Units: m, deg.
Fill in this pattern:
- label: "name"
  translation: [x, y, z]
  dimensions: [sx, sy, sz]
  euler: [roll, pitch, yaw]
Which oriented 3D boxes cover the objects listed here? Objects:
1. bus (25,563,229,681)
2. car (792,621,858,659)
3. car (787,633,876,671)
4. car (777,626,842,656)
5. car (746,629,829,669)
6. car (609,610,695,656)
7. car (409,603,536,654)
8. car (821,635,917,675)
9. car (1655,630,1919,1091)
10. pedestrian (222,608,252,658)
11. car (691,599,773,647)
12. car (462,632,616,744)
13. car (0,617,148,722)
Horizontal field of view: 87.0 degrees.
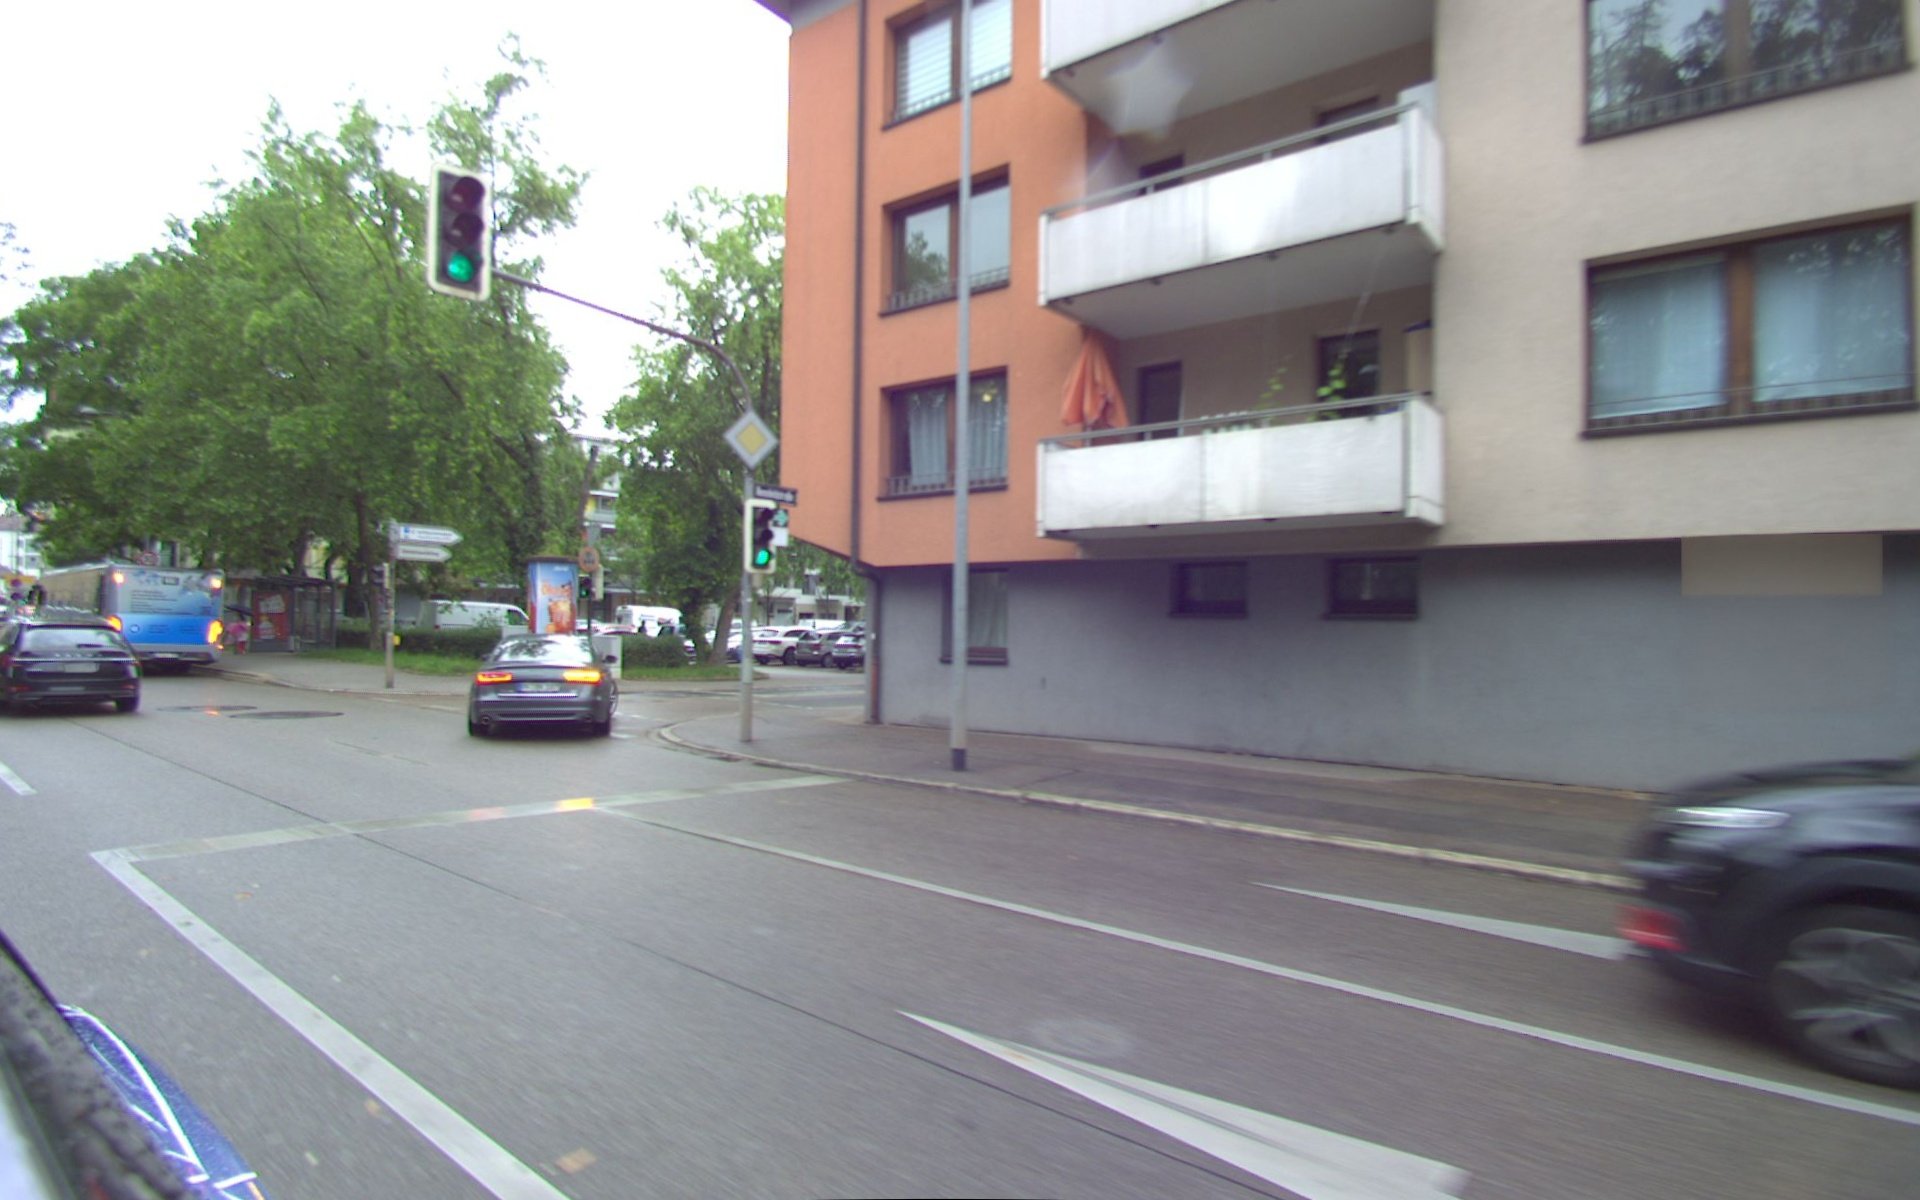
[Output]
- label: "bus"
  translation: [-25.292, 0.625, 30.366]
  dimensions: [12.078, 2.962, 2.665]
  euler: [0, -3, 41]
- label: "car"
  translation: [-9.748, 2.908, 73.565]
  dimensions: [1.999, 2.633, 4.521]
  euler: [-1, -3, 42]
- label: "car"
  translation: [-5.420, 2.201, 43.158]
  dimensions: [1.699, 1.550, 3.784]
  euler: [-1, -3, 34]
- label: "car"
  translation: [-10.240, 2.798, 68.899]
  dimensions: [1.702, 1.937, 4.277]
  euler: [-1, -3, 42]
- label: "car"
  translation: [-7.499, 2.131, 44.290]
  dimensions: [1.695, 1.676, 3.709]
  euler: [0, -3, 27]
- label: "car"
  translation: [-18.282, 1.982, 60.258]
  dimensions: [1.999, 2.633, 4.521]
  euler: [-1, -3, 42]
- label: "car"
  translation: [-19.659, 1.178, 40.942]
  dimensions: [1.701, 1.937, 4.281]
  euler: [-1, -3, 38]
- label: "car"
  translation: [-3.701, 2.244, 41.463]
  dimensions: [1.831, 1.528, 3.597]
  euler: [-1, -3, 43]
- label: "car"
  translation: [4.630, 0.874, 3.167]
  dimensions: [3.887, 1.503, 1.669]
  euler: [-1, -4, 41]
- label: "pedestrian"
  translation: [-26.084, 1.176, 36.500]
  dimensions: [0.687, 1.782, 0.702]
  euler: [0, 1, 41]
- label: "car"
  translation: [-13.265, 1.380, 59.048]
  dimensions: [1.995, 2.633, 4.531]
  euler: [-1, -3, 34]
- label: "car"
  translation: [-6.294, 1.247, 15.464]
  dimensions: [1.787, 1.426, 4.822]
  euler: [3, -3, -20]
- label: "car"
  translation: [-14.737, 1.057, 16.346]
  dimensions: [4.490, 1.469, 1.777]
  euler: [-1, -4, 42]
